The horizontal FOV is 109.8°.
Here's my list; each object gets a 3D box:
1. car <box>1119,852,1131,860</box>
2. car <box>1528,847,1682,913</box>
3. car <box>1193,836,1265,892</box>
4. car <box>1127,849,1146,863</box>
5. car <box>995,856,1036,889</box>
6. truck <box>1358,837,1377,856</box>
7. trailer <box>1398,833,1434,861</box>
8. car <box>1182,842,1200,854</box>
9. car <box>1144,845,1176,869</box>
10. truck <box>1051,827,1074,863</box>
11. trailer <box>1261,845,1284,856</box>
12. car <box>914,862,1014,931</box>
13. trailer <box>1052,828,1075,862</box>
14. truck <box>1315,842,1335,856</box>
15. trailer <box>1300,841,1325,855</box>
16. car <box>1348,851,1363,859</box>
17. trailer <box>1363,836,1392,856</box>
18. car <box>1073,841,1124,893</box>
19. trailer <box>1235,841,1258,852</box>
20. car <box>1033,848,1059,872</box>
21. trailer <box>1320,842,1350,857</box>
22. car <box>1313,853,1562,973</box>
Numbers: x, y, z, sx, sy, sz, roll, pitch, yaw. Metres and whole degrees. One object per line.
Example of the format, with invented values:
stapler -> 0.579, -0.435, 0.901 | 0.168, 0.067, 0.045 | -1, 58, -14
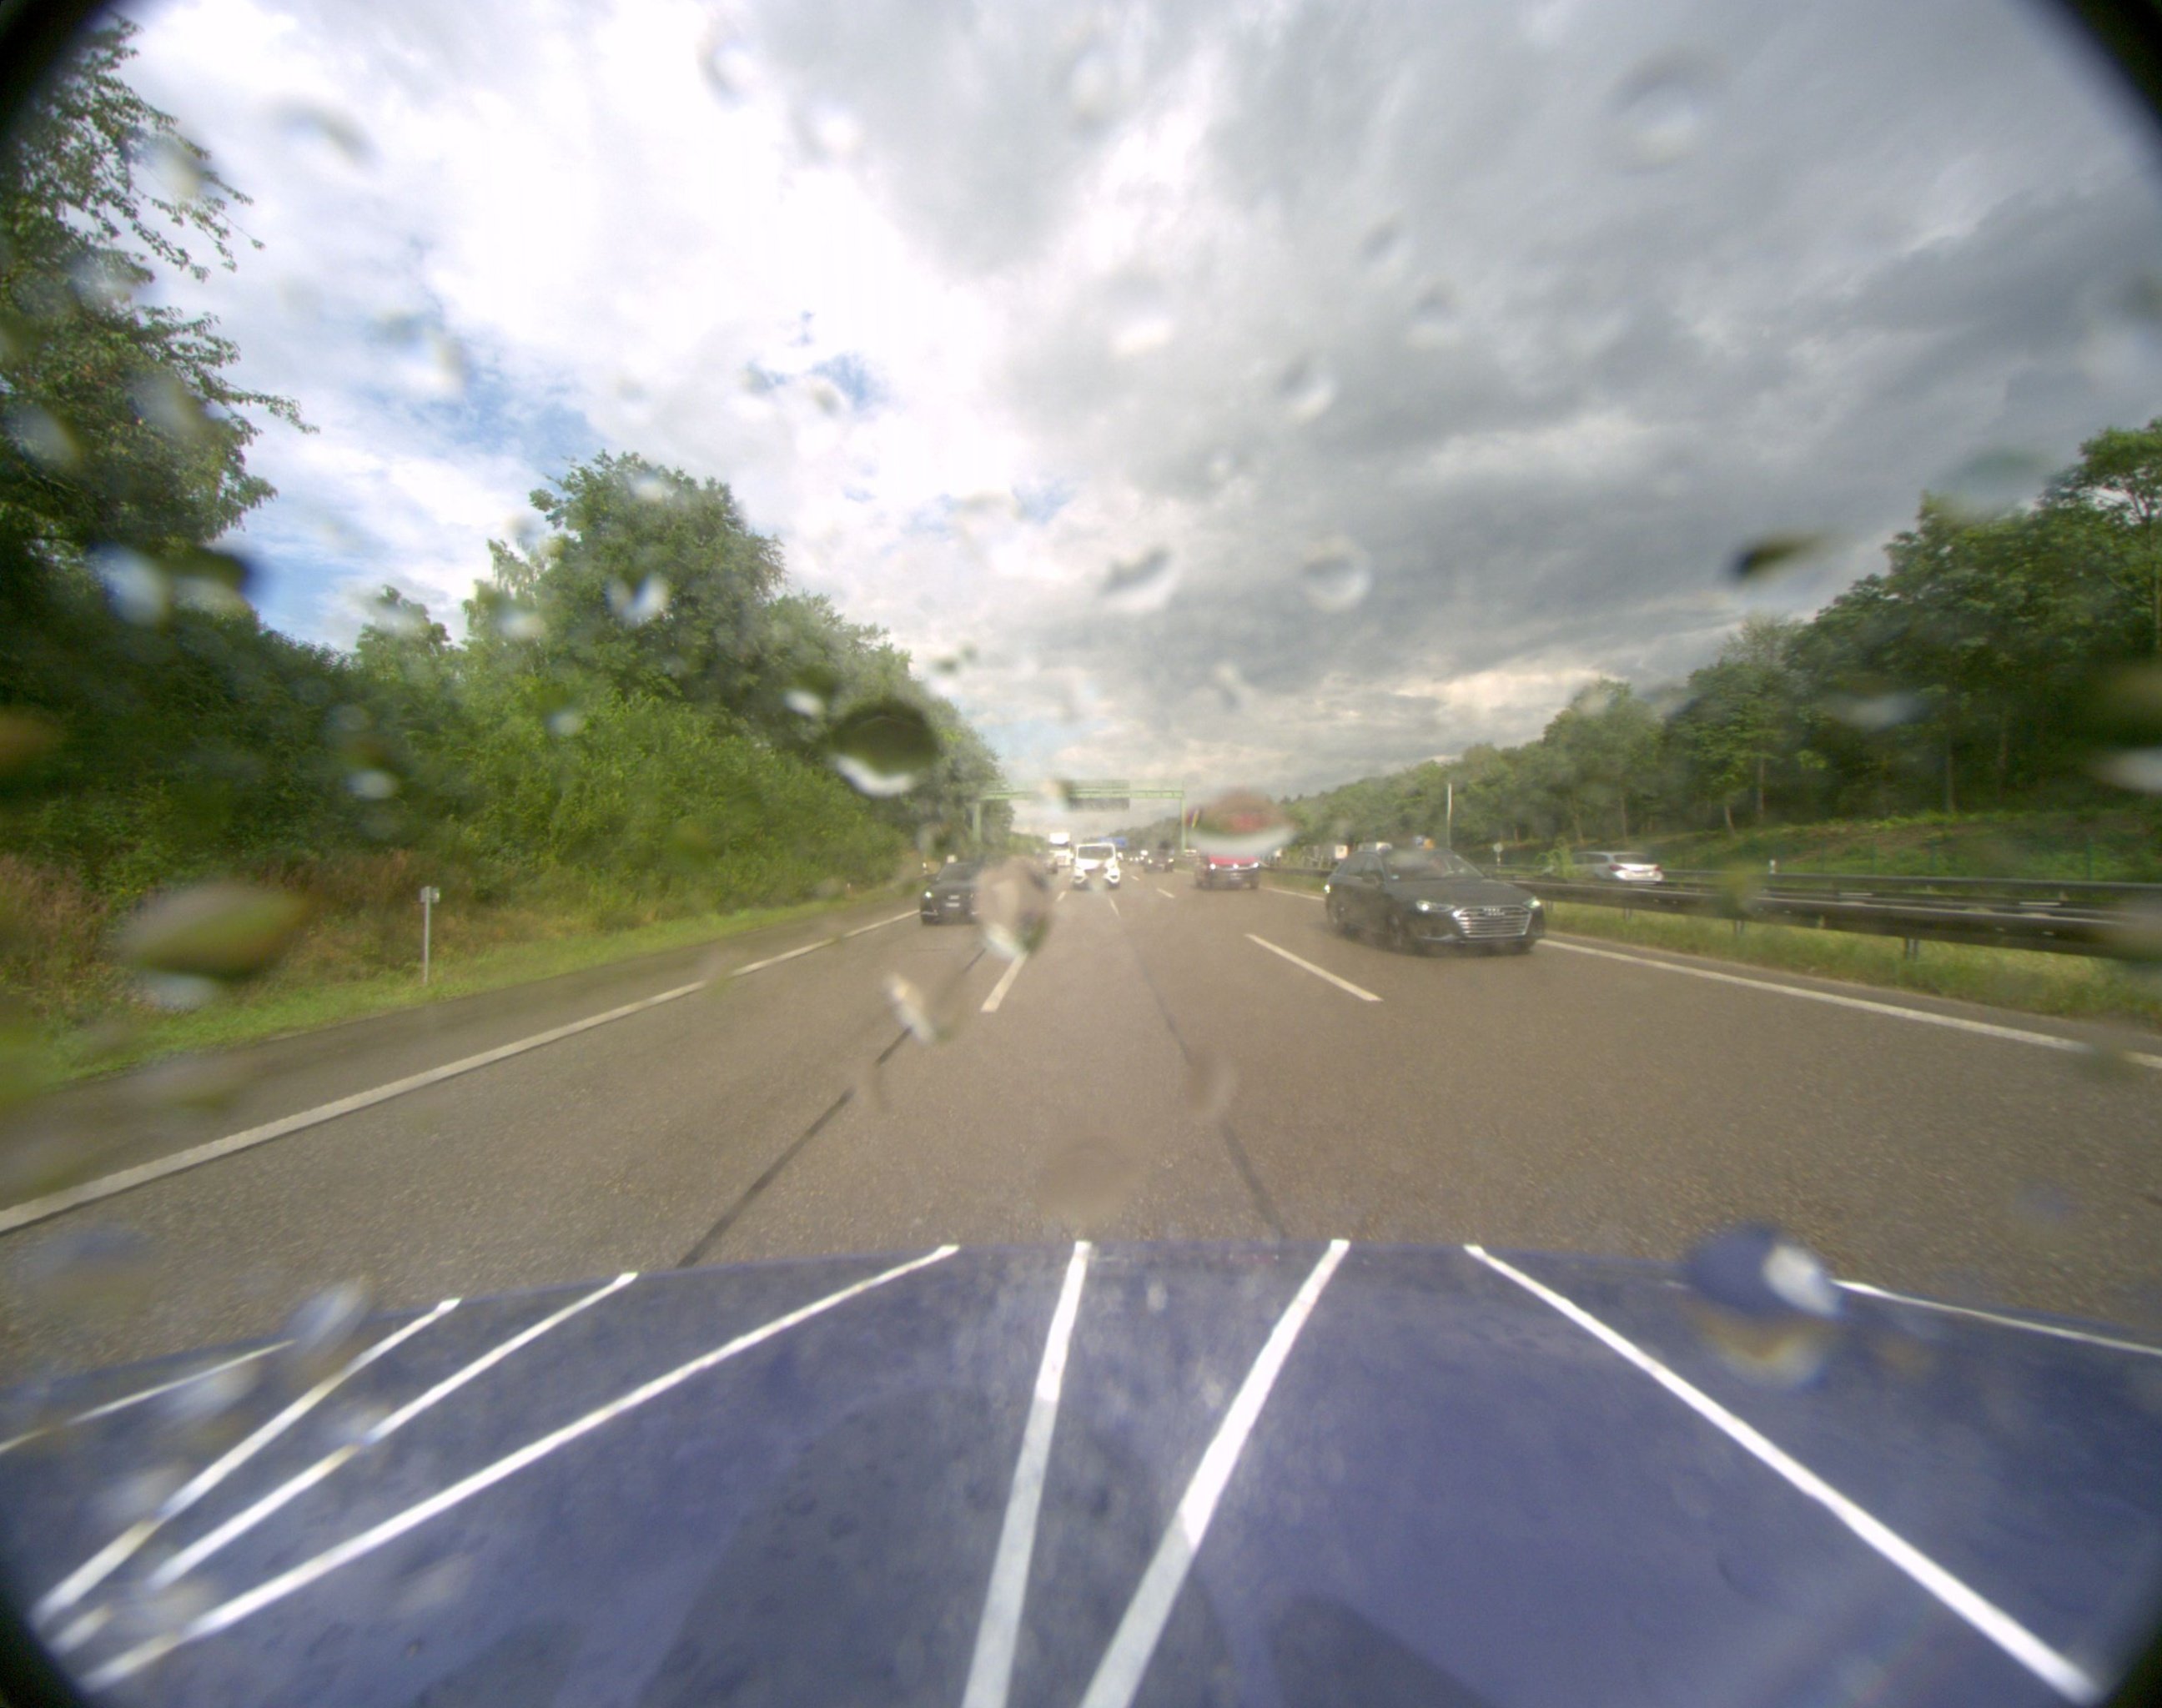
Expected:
car -> 7.152, 0.275, 122.970 | 1.675, 1.228, 4.000 | -2, 0, 0
car -> 17.948, 0.803, 26.370 | 1.998, 2.002, 4.805 | -2, 1, 0
car -> 5.689, 0.345, 29.776 | 1.895, 1.973, 4.750 | -1, 0, 0
car -> 6.304, 0.222, 86.431 | 1.895, 1.558, 4.053 | -2, 1, 0
car -> -3.093, 0.853, 36.565 | 1.655, 1.448, 3.744 | -2, 1, -1
truck -> 54.580, -1.442, 144.655 | 2.167, 3.599, 5.581 | 0, 1, 8
trailer -> 47.923, -1.079, 108.966 | 1.997, 3.673, 13.669 | -2, 1, 13
car -> 15.683, -0.817, 108.463 | 1.913, 1.669, 4.968 | 0, 1, 0
car -> 5.832, 0.221, 56.592 | 1.895, 1.660, 4.294 | -2, 1, 0
truck -> -2.215, -1.074, 91.377 | 2.460, 4.080, 5.332 | -2, 0, 0
trailer -> 56.353, -1.044, 224.331 | 3.193, 3.253, 12.644 | 0, 0, -2
car -> -2.765, 0.961, 18.953 | 1.759, 1.388, 4.368 | -2, 0, 0
trailer -> -2.167, -1.128, 99.214 | 2.451, 4.095, 12.214 | -2, 1, 0
truck -> 57.362, -1.255, 178.445 | 3.049, 3.165, 5.597 | 0, 0, 2
trailer -> 57.622, -1.437, 189.550 | 2.611, 3.253, 12.647 | 0, 0, 0
car -> 56.088, 0.185, 155.310 | 1.899, 1.494, 4.001 | 0, 0, 4
trailer -> 53.638, -1.407, 137.832 | 2.187, 3.579, 11.726 | 0, 0, 8
car -> 0.715, 0.509, 32.859 | 1.985, 1.973, 5.168 | -2, 0, 0
trailer -> 54.202, -2.471, 249.297 | 3.086, 3.253, 13.401 | 0, 0, -6
car -> -2.829, 0.466, 62.798 | 1.831, 1.793, 5.305 | -1, 0, 0
trailer -> 57.107, -1.047, 171.106 | 3.026, 3.174, 12.175 | 0, 0, 2
car -> 5.112, 0.733, 11.679 | 1.723, 1.403, 4.467 | -2, 0, 0
